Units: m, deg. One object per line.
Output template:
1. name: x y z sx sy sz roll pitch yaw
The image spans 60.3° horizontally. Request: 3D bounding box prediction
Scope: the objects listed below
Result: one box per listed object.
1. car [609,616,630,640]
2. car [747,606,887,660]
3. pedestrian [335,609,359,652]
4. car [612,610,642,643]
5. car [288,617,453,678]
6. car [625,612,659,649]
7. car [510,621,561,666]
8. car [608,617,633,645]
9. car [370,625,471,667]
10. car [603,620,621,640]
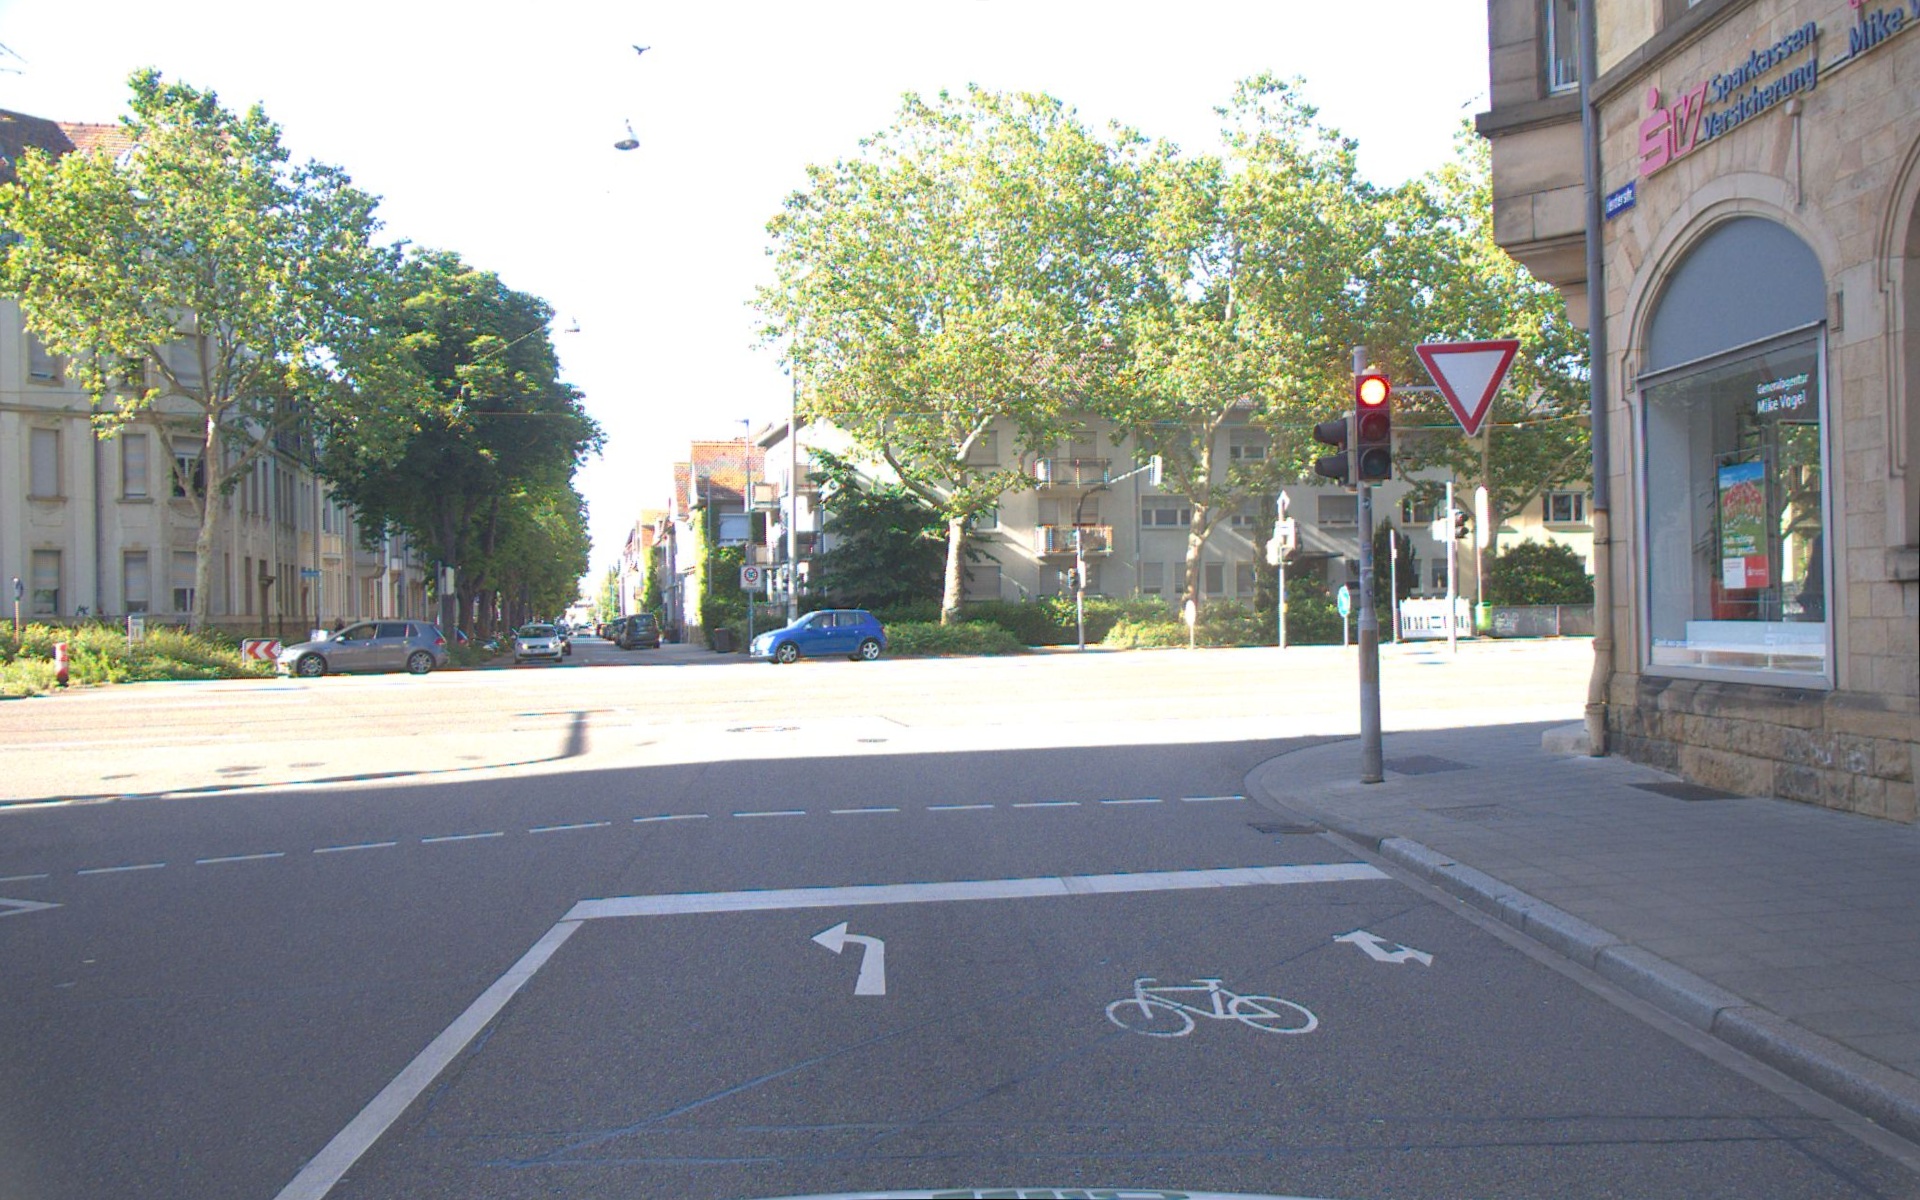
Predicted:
1. car: -30.044 2.446 145.934 1.742 1.952 3.523 -3 0 -12
2. car: -4.106 0.918 47.247 3.722 1.425 1.637 -1 0 -18
3. pedestrian: -20.860 1.033 56.296 0.690 1.467 0.489 1 -1 -11
4. car: -21.012 1.652 104.288 1.742 1.952 3.523 -3 0 -12
5. car: -15.059 1.193 42.254 3.886 1.425 1.634 -1 0 -23
6. car: -18.099 1.720 94.137 1.742 1.952 3.523 -3 0 -12
7. car: -16.168 1.637 63.076 1.669 1.509 3.523 -3 1 -12
8. car: -26.232 2.380 127.708 1.742 1.952 3.523 -3 0 -12
9. car: -20.448 1.738 62.804 3.572 1.483 1.650 -1 0 -16
10. car: -37.933 3.248 180.183 1.742 1.952 3.523 -3 0 -12
